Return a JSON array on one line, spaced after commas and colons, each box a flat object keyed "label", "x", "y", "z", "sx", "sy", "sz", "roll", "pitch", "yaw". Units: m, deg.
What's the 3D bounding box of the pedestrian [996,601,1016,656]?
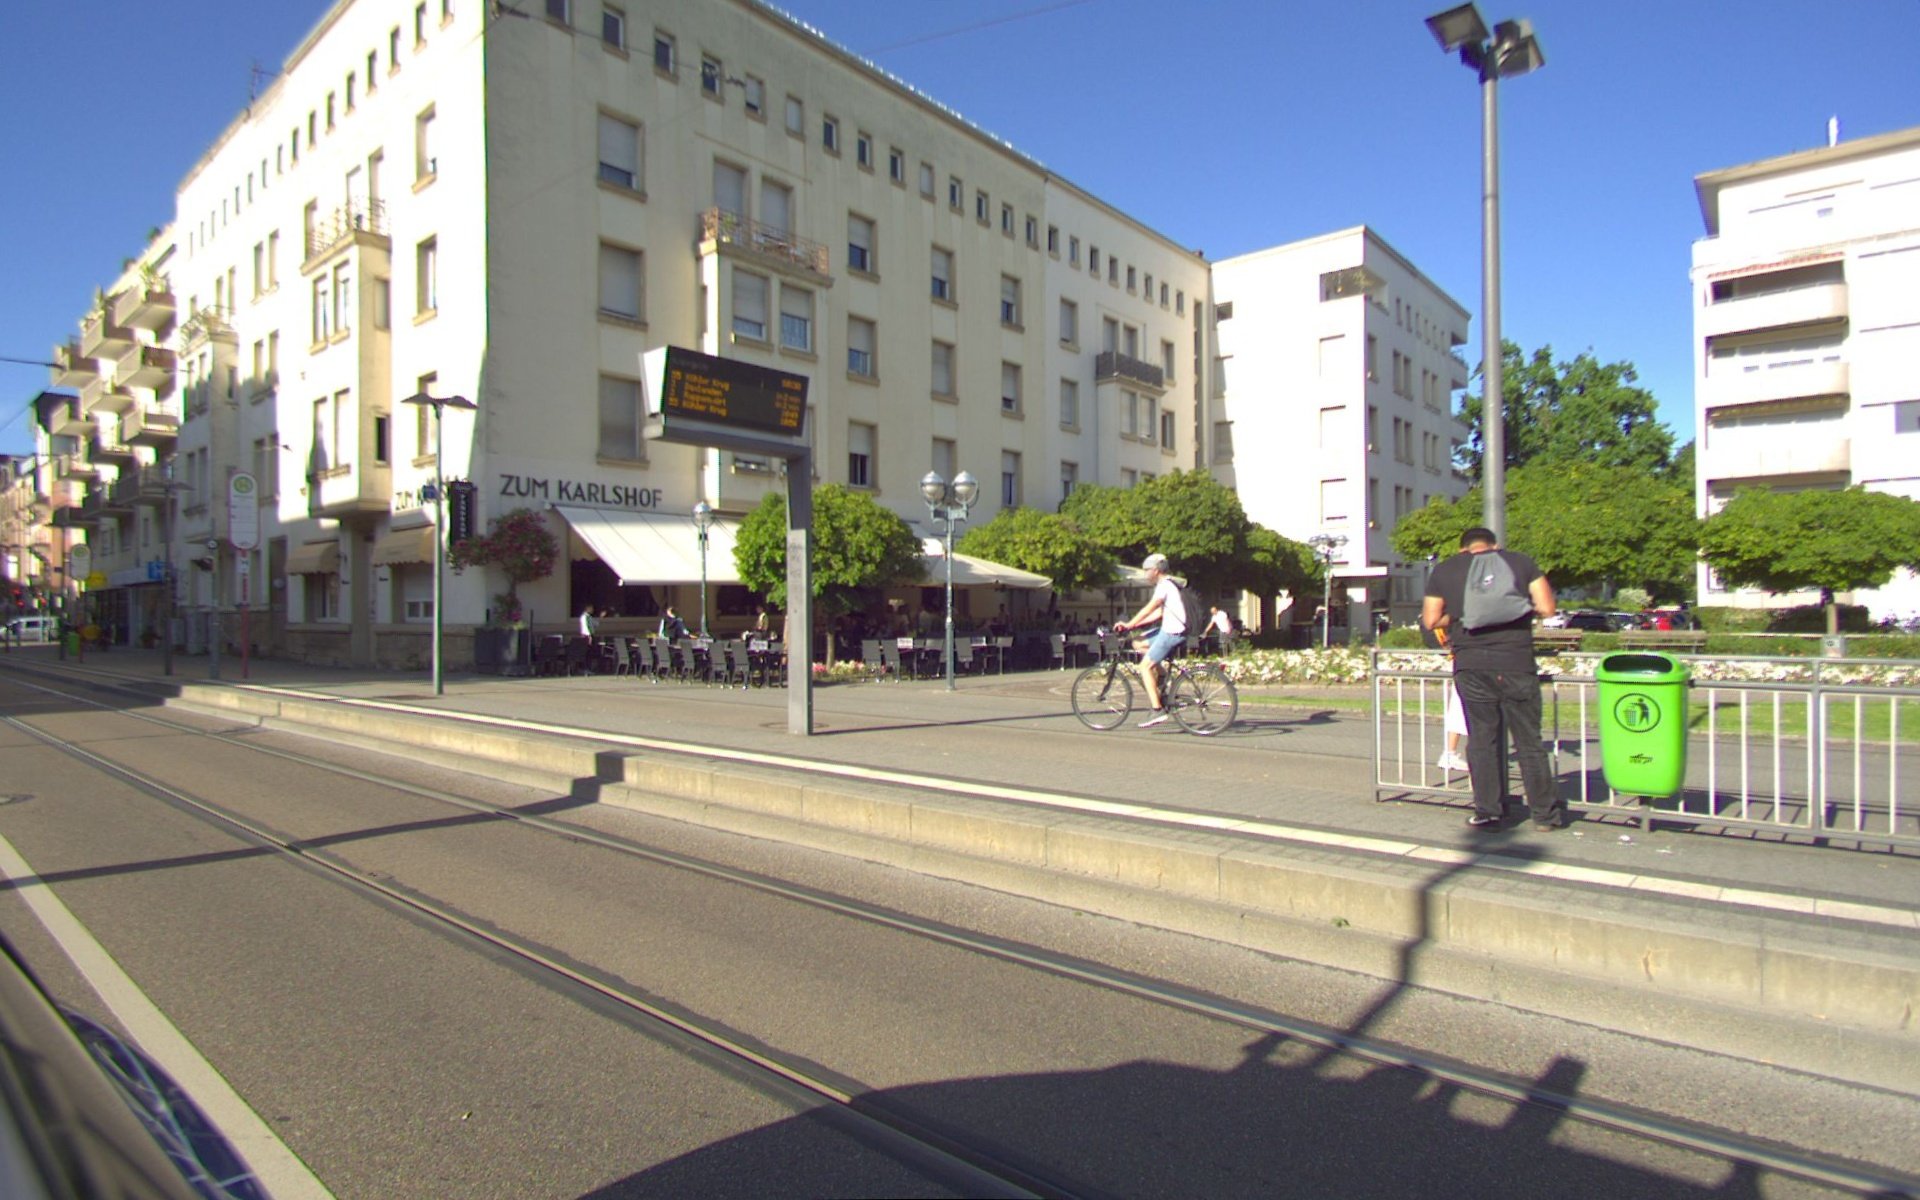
[{"label": "pedestrian", "x": 1.539, "y": 0.956, "z": 34.114, "sx": 0.641, "sy": 1.837, "sz": 0.576, "roll": -1, "pitch": -1, "yaw": 5}]

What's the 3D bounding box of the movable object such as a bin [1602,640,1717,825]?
[{"label": "movable object such as a bin", "x": 3.516, "y": 0.639, "z": 5.087, "sx": 0.416, "sy": 0.866, "sz": 0.332, "roll": -2, "pitch": -1, "yaw": 44}]

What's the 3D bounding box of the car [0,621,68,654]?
[{"label": "car", "x": -64.621, "y": 2.577, "z": 70.216, "sx": 3.934, "sy": 2.133, "sz": 1.883, "roll": 0, "pitch": -1, "yaw": -37}]

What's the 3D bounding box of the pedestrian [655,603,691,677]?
[{"label": "pedestrian", "x": -6.561, "y": 0.922, "z": 23.152, "sx": 0.664, "sy": 1.657, "sz": 0.677, "roll": -2, "pitch": -4, "yaw": -4}]

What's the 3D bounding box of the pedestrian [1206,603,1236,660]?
[{"label": "pedestrian", "x": 8.310, "y": 1.014, "z": 32.282, "sx": 0.710, "sy": 1.750, "sz": 0.673, "roll": -2, "pitch": -4, "yaw": 1}]

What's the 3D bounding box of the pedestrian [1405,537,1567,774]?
[{"label": "pedestrian", "x": 4.113, "y": 0.416, "z": 7.905, "sx": 0.972, "sy": 1.693, "sz": 0.984, "roll": -1, "pitch": -3, "yaw": 36}]

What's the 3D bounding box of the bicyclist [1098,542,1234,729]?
[{"label": "bicyclist", "x": 2.146, "y": 0.351, "z": 10.507, "sx": 1.092, "sy": 1.807, "sz": 0.996, "roll": -1, "pitch": -1, "yaw": 33}]

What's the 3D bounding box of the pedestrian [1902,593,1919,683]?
[{"label": "pedestrian", "x": 19.872, "y": 0.750, "z": 20.184, "sx": 1.063, "sy": 1.801, "sz": 1.180, "roll": 0, "pitch": -1, "yaw": -19}]

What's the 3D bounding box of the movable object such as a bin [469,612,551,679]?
[{"label": "movable object such as a bin", "x": -9.914, "y": 0.982, "z": 22.314, "sx": 1.127, "sy": 1.410, "sz": 1.302, "roll": -1, "pitch": -1, "yaw": 40}]

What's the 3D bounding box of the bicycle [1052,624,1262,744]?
[{"label": "bicycle", "x": 2.032, "y": 0.831, "z": 10.576, "sx": 2.030, "sy": 1.134, "sz": 0.706, "roll": -1, "pitch": -1, "yaw": 33}]

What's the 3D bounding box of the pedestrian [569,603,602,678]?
[{"label": "pedestrian", "x": -8.496, "y": 0.919, "z": 22.970, "sx": 0.662, "sy": 1.657, "sz": 0.753, "roll": 0, "pitch": -4, "yaw": -22}]

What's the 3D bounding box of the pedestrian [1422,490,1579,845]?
[{"label": "pedestrian", "x": 2.849, "y": 0.338, "z": 5.343, "sx": 0.607, "sy": 1.731, "sz": 0.542, "roll": -1, "pitch": -3, "yaw": 43}]

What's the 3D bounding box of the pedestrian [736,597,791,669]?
[{"label": "pedestrian", "x": -4.683, "y": 0.771, "z": 24.102, "sx": 0.755, "sy": 1.657, "sz": 1.054, "roll": -1, "pitch": -1, "yaw": 36}]

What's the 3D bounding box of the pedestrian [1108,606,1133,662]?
[{"label": "pedestrian", "x": 5.139, "y": 1.089, "z": 32.384, "sx": 0.677, "sy": 1.750, "sz": 0.671, "roll": -3, "pitch": -4, "yaw": 14}]

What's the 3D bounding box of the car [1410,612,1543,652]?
[{"label": "car", "x": 17.696, "y": 1.077, "z": 34.730, "sx": 3.713, "sy": 1.310, "sz": 1.973, "roll": -1, "pitch": -1, "yaw": 41}]

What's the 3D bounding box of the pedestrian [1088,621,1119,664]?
[{"label": "pedestrian", "x": 4.340, "y": 1.286, "z": 30.653, "sx": 0.672, "sy": 1.280, "sz": 0.636, "roll": -5, "pitch": -5, "yaw": 36}]

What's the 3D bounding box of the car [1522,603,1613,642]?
[{"label": "car", "x": 24.268, "y": 0.880, "z": 40.464, "sx": 2.932, "sy": 1.497, "sz": 1.399, "roll": -1, "pitch": -1, "yaw": 41}]
